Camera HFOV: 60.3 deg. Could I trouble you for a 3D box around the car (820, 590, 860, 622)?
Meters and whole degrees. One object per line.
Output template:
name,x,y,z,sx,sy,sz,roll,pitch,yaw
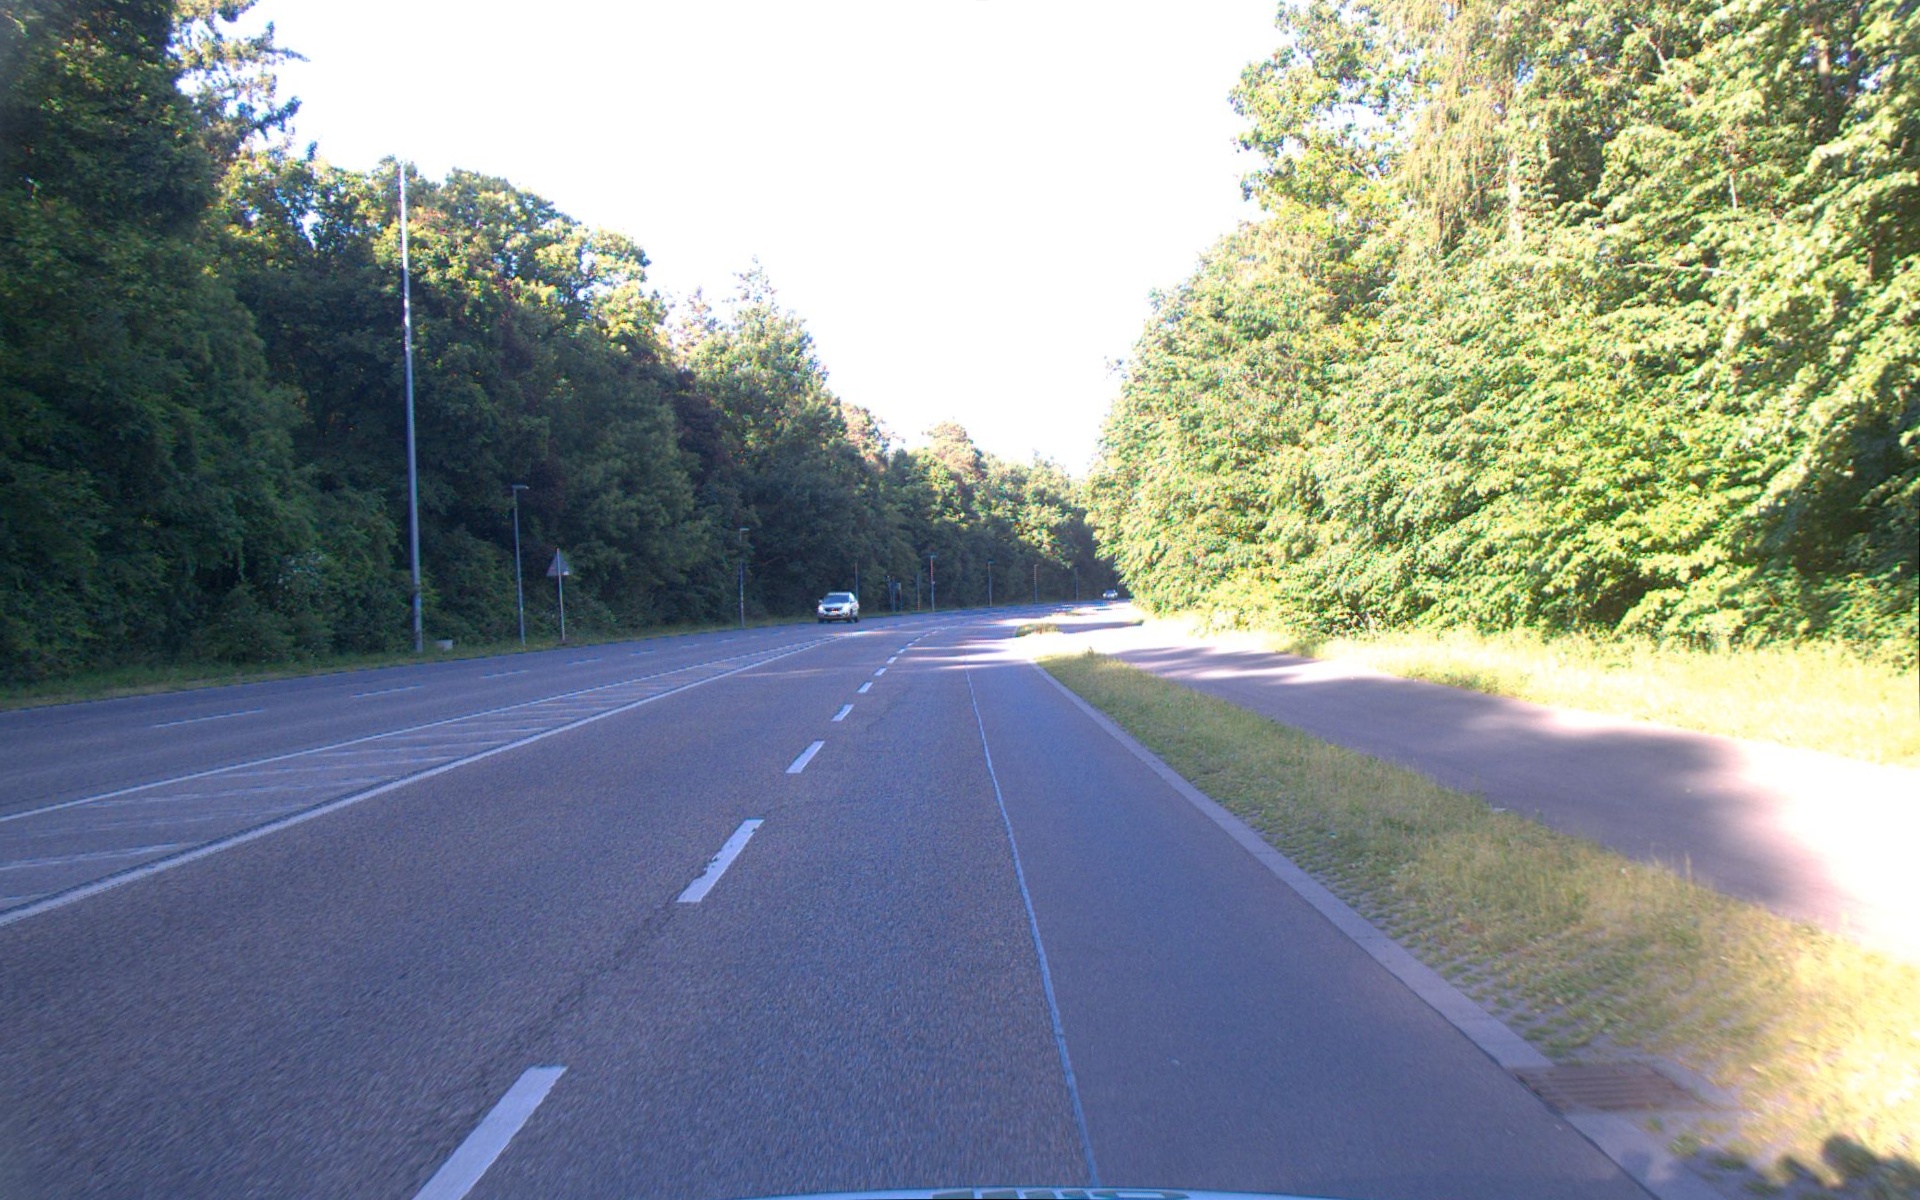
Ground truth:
car,-6.611,0.313,91.531,1.869,1.693,4.733,-1,0,0
